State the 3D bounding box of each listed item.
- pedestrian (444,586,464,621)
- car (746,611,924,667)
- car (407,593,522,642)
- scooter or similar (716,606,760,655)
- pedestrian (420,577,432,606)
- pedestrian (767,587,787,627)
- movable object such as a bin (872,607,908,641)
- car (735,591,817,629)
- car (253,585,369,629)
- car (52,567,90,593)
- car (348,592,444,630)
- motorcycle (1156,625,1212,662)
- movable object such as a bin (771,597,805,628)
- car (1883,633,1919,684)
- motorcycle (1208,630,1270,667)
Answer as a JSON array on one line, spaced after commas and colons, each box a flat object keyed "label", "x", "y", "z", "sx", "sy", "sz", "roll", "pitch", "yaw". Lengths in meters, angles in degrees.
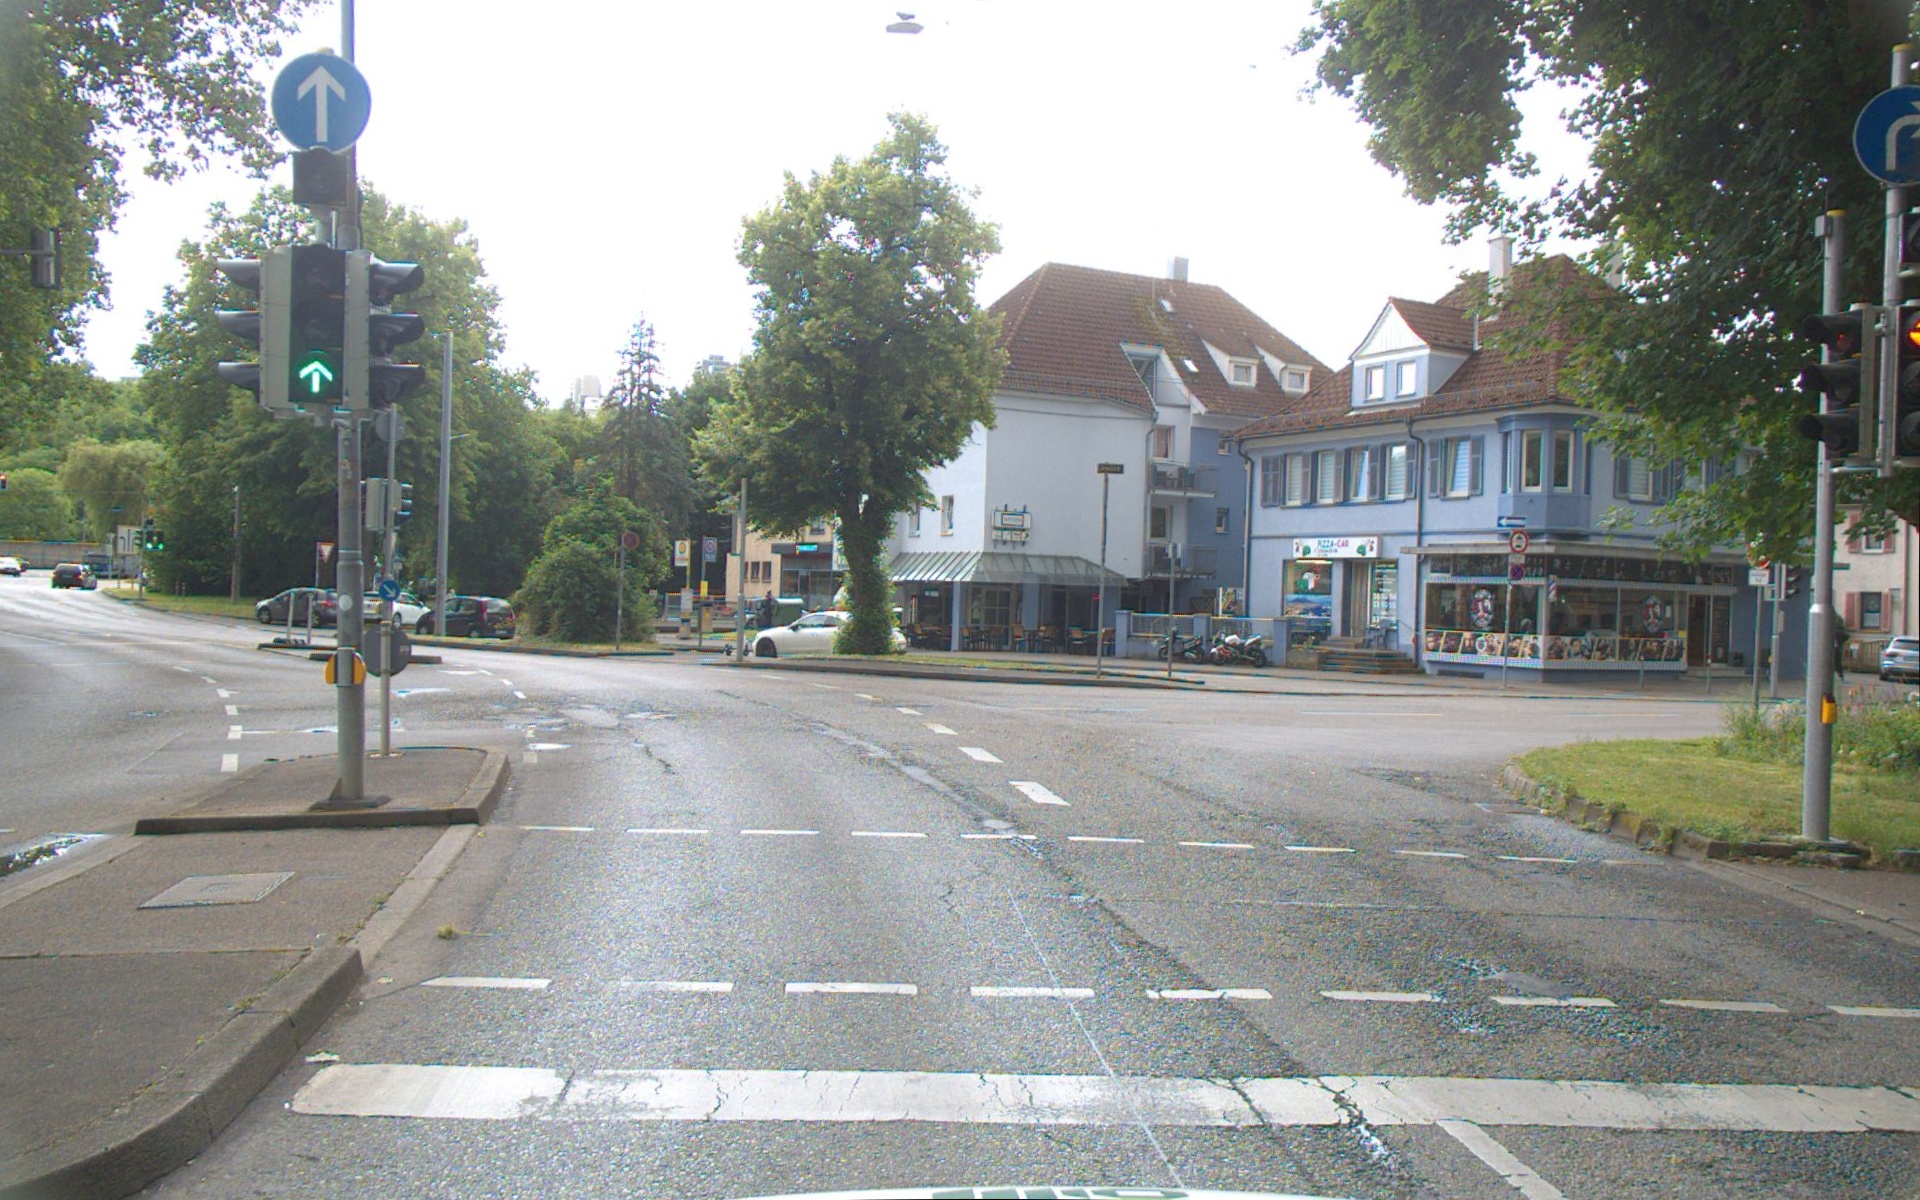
[{"label": "pedestrian", "x": -23.343, "y": 0.180, "z": 76.282, "sx": 0.677, "sy": 1.578, "sz": 0.734, "roll": 2, "pitch": 0, "yaw": -32}, {"label": "car", "x": -3.477, "y": 1.040, "z": 45.666, "sx": 4.689, "sy": 1.411, "sz": 1.994, "roll": 1, "pitch": 0, "yaw": 34}, {"label": "car", "x": -16.004, "y": 0.547, "z": 53.405, "sx": 3.416, "sy": 1.428, "sz": 1.571, "roll": 2, "pitch": 0, "yaw": 28}, {"label": "scooter or similar", "x": -5.704, "y": 0.791, "z": 42.621, "sx": 0.403, "sy": 1.187, "sz": 1.361, "roll": 1, "pitch": -3, "yaw": 25}, {"label": "pedestrian", "x": -29.549, "y": -0.464, "z": 91.538, "sx": 0.503, "sy": 1.558, "sz": 0.772, "roll": 2, "pitch": -1, "yaw": -23}, {"label": "pedestrian", "x": -8.249, "y": 0.314, "z": 74.454, "sx": 0.680, "sy": 1.760, "sz": 0.605, "roll": 1, "pitch": -1, "yaw": -32}, {"label": "movable object such as a bin", "x": -2.988, "y": 1.012, "z": 70.408, "sx": 1.197, "sy": 1.419, "sz": 1.153, "roll": 1, "pitch": 0, "yaw": -22}, {"label": "car", "x": -8.400, "y": 0.449, "z": 75.554, "sx": 3.371, "sy": 1.659, "sz": 1.611, "roll": 1, "pitch": 0, "yaw": -26}, {"label": "car", "x": -25.087, "y": 0.252, "z": 63.918, "sx": 4.016, "sy": 1.454, "sz": 1.733, "roll": 3, "pitch": 0, "yaw": 21}, {"label": "car", "x": -53.712, "y": -1.201, "z": 99.937, "sx": 1.804, "sy": 1.536, "sz": 4.527, "roll": 1, "pitch": 0, "yaw": -31}, {"label": "car", "x": -22.677, "y": 0.434, "z": 66.653, "sx": 1.721, "sy": 1.405, "sz": 4.265, "roll": 2, "pitch": 0, "yaw": 11}, {"label": "motorcycle", "x": 6.789, "y": 1.313, "z": 50.182, "sx": 1.695, "sy": 1.049, "sz": 0.487, "roll": 1, "pitch": 0, "yaw": 43}, {"label": "movable object such as a bin", "x": -7.692, "y": 0.558, "z": 73.811, "sx": 1.204, "sy": 1.368, "sz": 0.984, "roll": 1, "pitch": -1, "yaw": -32}, {"label": "car", "x": 29.688, "y": 1.815, "z": 51.575, "sx": 1.537, "sy": 1.488, "sz": 3.433, "roll": 2, "pitch": 0, "yaw": 29}, {"label": "motorcycle", "x": 8.176, "y": 1.417, "z": 48.442, "sx": 1.791, "sy": 1.003, "sz": 0.518, "roll": 1, "pitch": -1, "yaw": 43}]
